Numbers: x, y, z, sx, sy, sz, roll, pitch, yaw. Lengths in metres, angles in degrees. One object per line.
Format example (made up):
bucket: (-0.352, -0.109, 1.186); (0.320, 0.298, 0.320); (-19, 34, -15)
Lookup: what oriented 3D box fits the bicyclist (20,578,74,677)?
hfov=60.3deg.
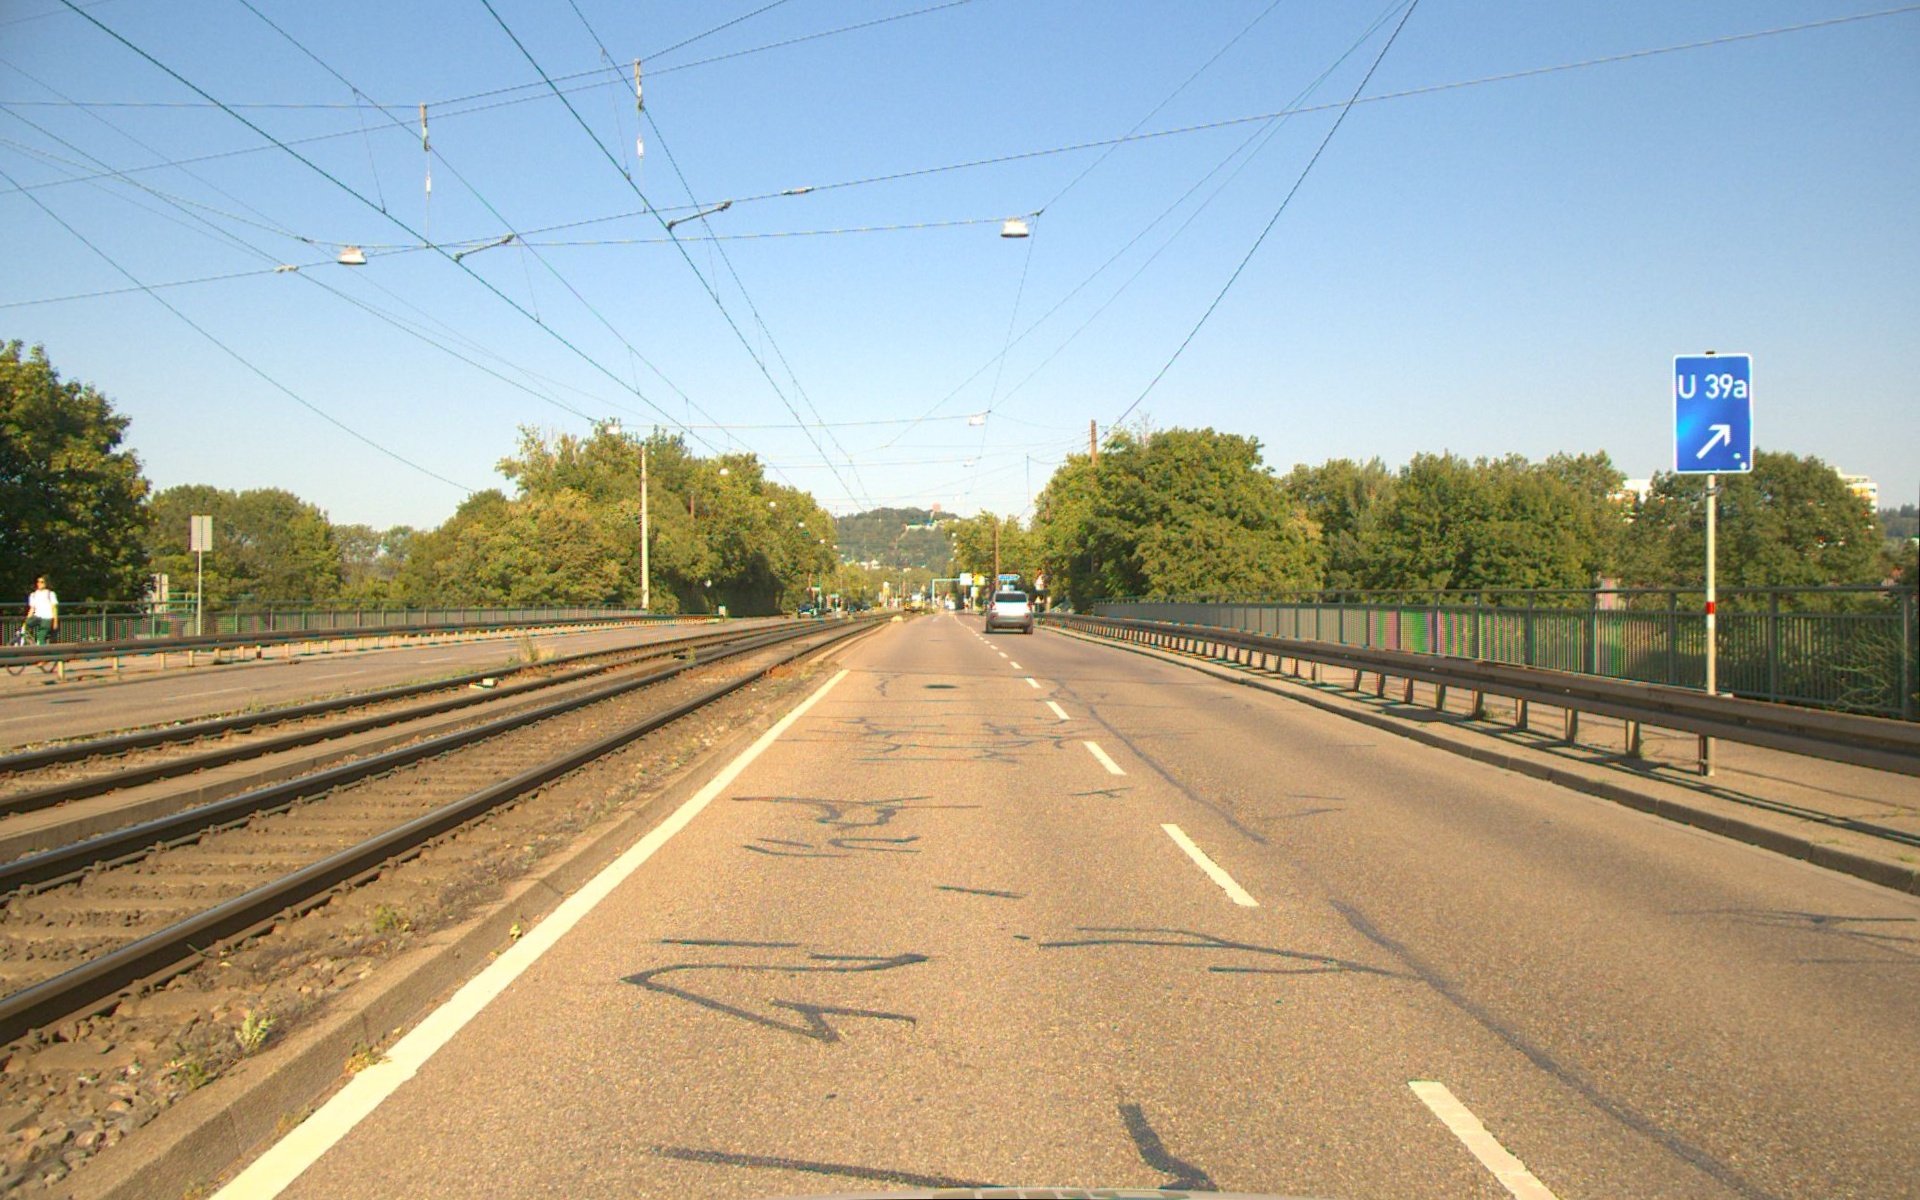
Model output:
bicyclist: (-17.821, 0.525, 32.288); (0.529, 1.895, 0.875); (1, 0, -1)

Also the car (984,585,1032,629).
car: (1.936, 0.276, 66.852); (1.849, 1.723, 4.257); (0, 0, 1)

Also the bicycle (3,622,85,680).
bicycle: (-17.826, 0.974, 32.221); (0.529, 1.061, 1.924); (1, 0, -1)

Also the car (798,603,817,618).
car: (-17.787, 1.205, 192.871); (1.953, 1.646, 3.999); (1, 0, -1)
